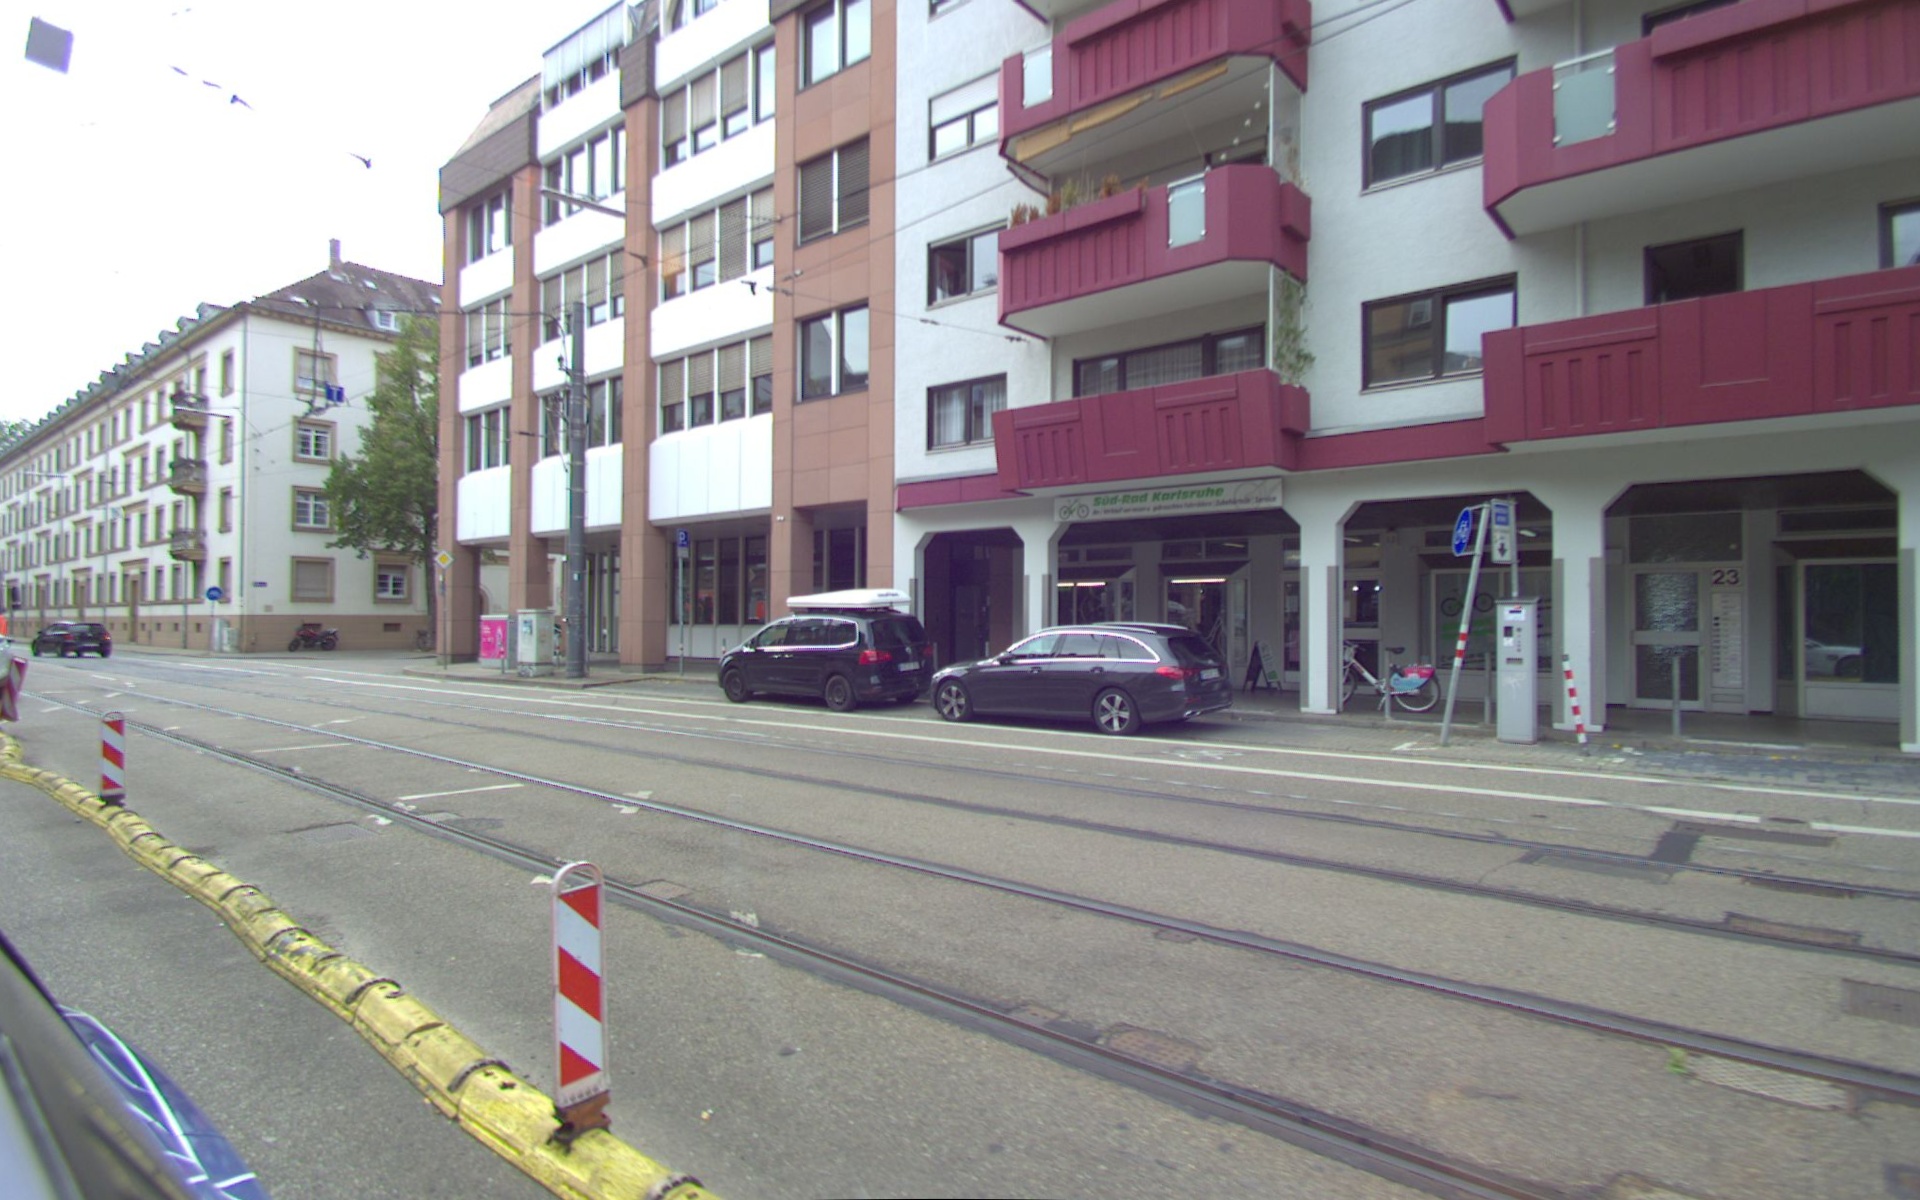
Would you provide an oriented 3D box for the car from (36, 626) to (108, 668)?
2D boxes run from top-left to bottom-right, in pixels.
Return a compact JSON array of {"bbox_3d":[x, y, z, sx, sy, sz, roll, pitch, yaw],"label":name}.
[{"bbox_3d":[-36.173,1.876,41.198,4.048,1.549,1.750,-1,-1,42],"label":"car"}]

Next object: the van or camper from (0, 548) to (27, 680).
[{"bbox_3d":[-29.341,0.441,29.064,9.646,3.447,2.574,-1,-2,41],"label":"van or camper"}]

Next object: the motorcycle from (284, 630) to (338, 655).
[{"bbox_3d":[-29.481,1.909,45.982,0.792,1.094,1.899,-1,-2,41],"label":"motorcycle"}]

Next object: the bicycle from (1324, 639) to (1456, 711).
[{"bbox_3d":[6.100,1.039,14.402,1.646,0.960,0.559,-1,-2,34],"label":"bicycle"}]

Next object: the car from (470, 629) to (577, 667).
[{"bbox_3d":[-17.143,1.843,39.865,1.607,1.399,3.610,-1,-2,32],"label":"car"}]

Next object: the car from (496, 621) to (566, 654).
[{"bbox_3d":[-20.880,1.820,49.232,3.712,1.559,1.591,-1,-2,39],"label":"car"}]

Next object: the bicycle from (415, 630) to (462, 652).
[{"bbox_3d":[-25.954,2.022,50.395,0.792,1.094,1.899,-1,-2,41],"label":"bicycle"}]

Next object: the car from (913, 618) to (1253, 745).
[{"bbox_3d":[1.634,1.057,14.653,4.695,1.491,1.736,-1,0,41],"label":"car"}]

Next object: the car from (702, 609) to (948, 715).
[{"bbox_3d":[-2.578,1.048,18.563,4.695,1.659,1.788,-1,0,41],"label":"car"}]

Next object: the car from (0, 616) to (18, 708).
[{"bbox_3d":[-17.639,1.097,17.378,1.746,1.603,4.291,-1,-1,-38],"label":"car"}]
